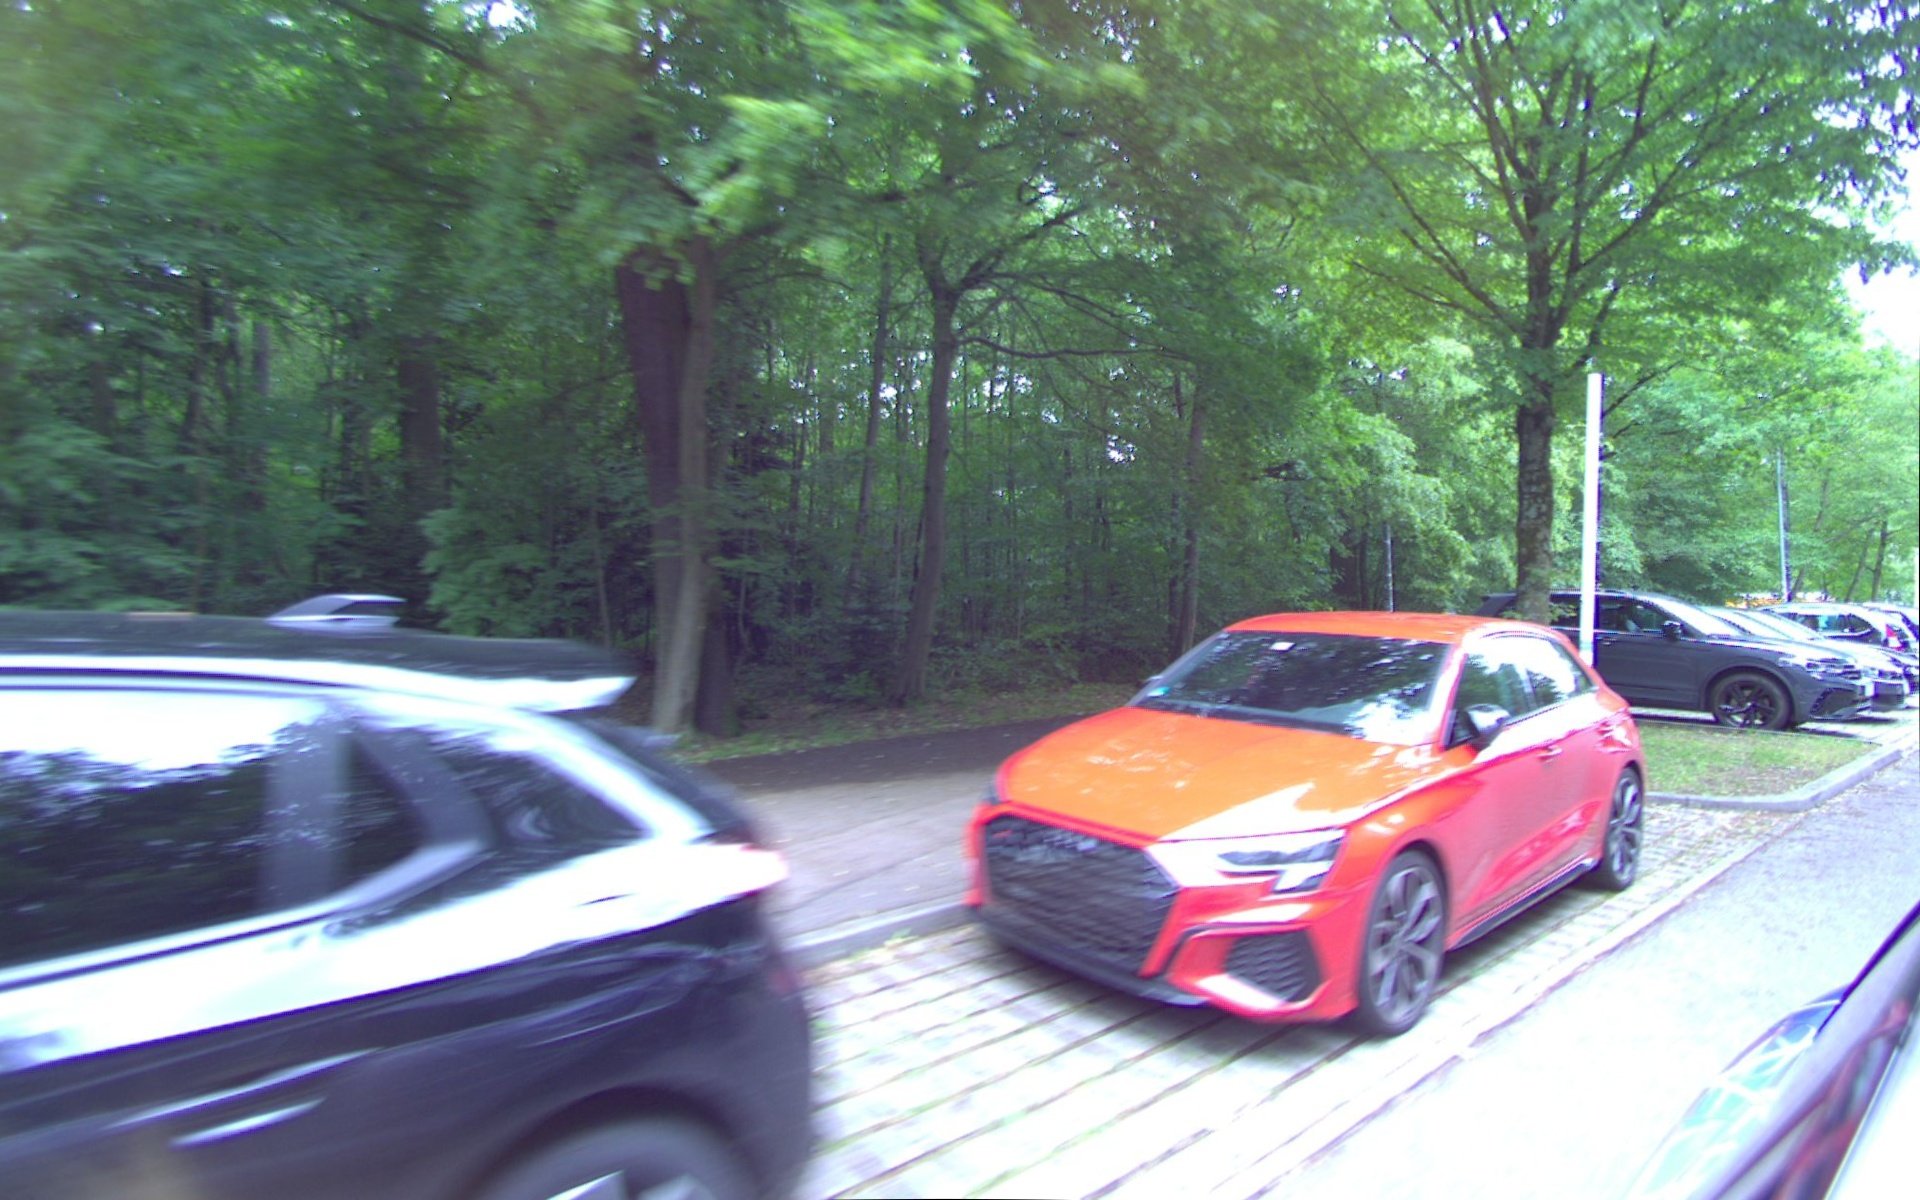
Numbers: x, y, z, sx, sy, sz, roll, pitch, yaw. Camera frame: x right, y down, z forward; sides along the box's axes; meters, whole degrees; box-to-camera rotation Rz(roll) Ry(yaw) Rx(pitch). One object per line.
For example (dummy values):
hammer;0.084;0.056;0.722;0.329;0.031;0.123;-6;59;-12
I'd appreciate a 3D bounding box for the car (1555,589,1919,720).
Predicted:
car;10.879;0.658;14.198;1.943;1.571;3.990;0;0;-43

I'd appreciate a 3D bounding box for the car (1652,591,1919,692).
car;14.736;0.639;17.832;1.817;1.550;3.838;0;1;-37

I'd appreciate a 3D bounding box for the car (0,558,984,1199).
car;-2.094;0.674;1.396;4.209;1.441;1.728;0;0;-41

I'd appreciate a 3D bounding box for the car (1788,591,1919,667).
car;20.780;0.618;21.909;1.939;1.579;4.023;1;-1;-33

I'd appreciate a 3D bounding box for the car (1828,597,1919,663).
car;22.826;0.688;23.326;1.849;1.503;3.986;1;-1;-37

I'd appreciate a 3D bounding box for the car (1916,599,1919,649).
car;28.924;0.691;27.533;1.841;1.429;3.946;1;-1;-33

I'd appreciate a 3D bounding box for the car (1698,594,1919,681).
car;16.525;0.638;19.108;1.775;1.475;3.839;0;1;-36

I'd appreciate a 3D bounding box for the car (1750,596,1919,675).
car;18.791;0.693;20.414;1.858;1.531;4.197;1;-1;-38

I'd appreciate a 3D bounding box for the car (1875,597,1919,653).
car;26.455;0.656;26.298;1.838;1.459;3.799;1;-1;-42

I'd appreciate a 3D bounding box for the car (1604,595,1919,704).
car;12.780;0.686;15.981;1.916;1.494;3.998;0;0;-37

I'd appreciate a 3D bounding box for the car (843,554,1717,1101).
car;1.987;0.625;5.145;4.884;1.498;1.997;0;0;-41

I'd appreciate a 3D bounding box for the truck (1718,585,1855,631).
truck;67.448;0.642;82.789;2.809;3.559;8.258;2;-1;-28

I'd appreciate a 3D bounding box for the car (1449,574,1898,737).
car;8.775;0.583;12.784;1.922;1.687;4.276;0;0;-38
